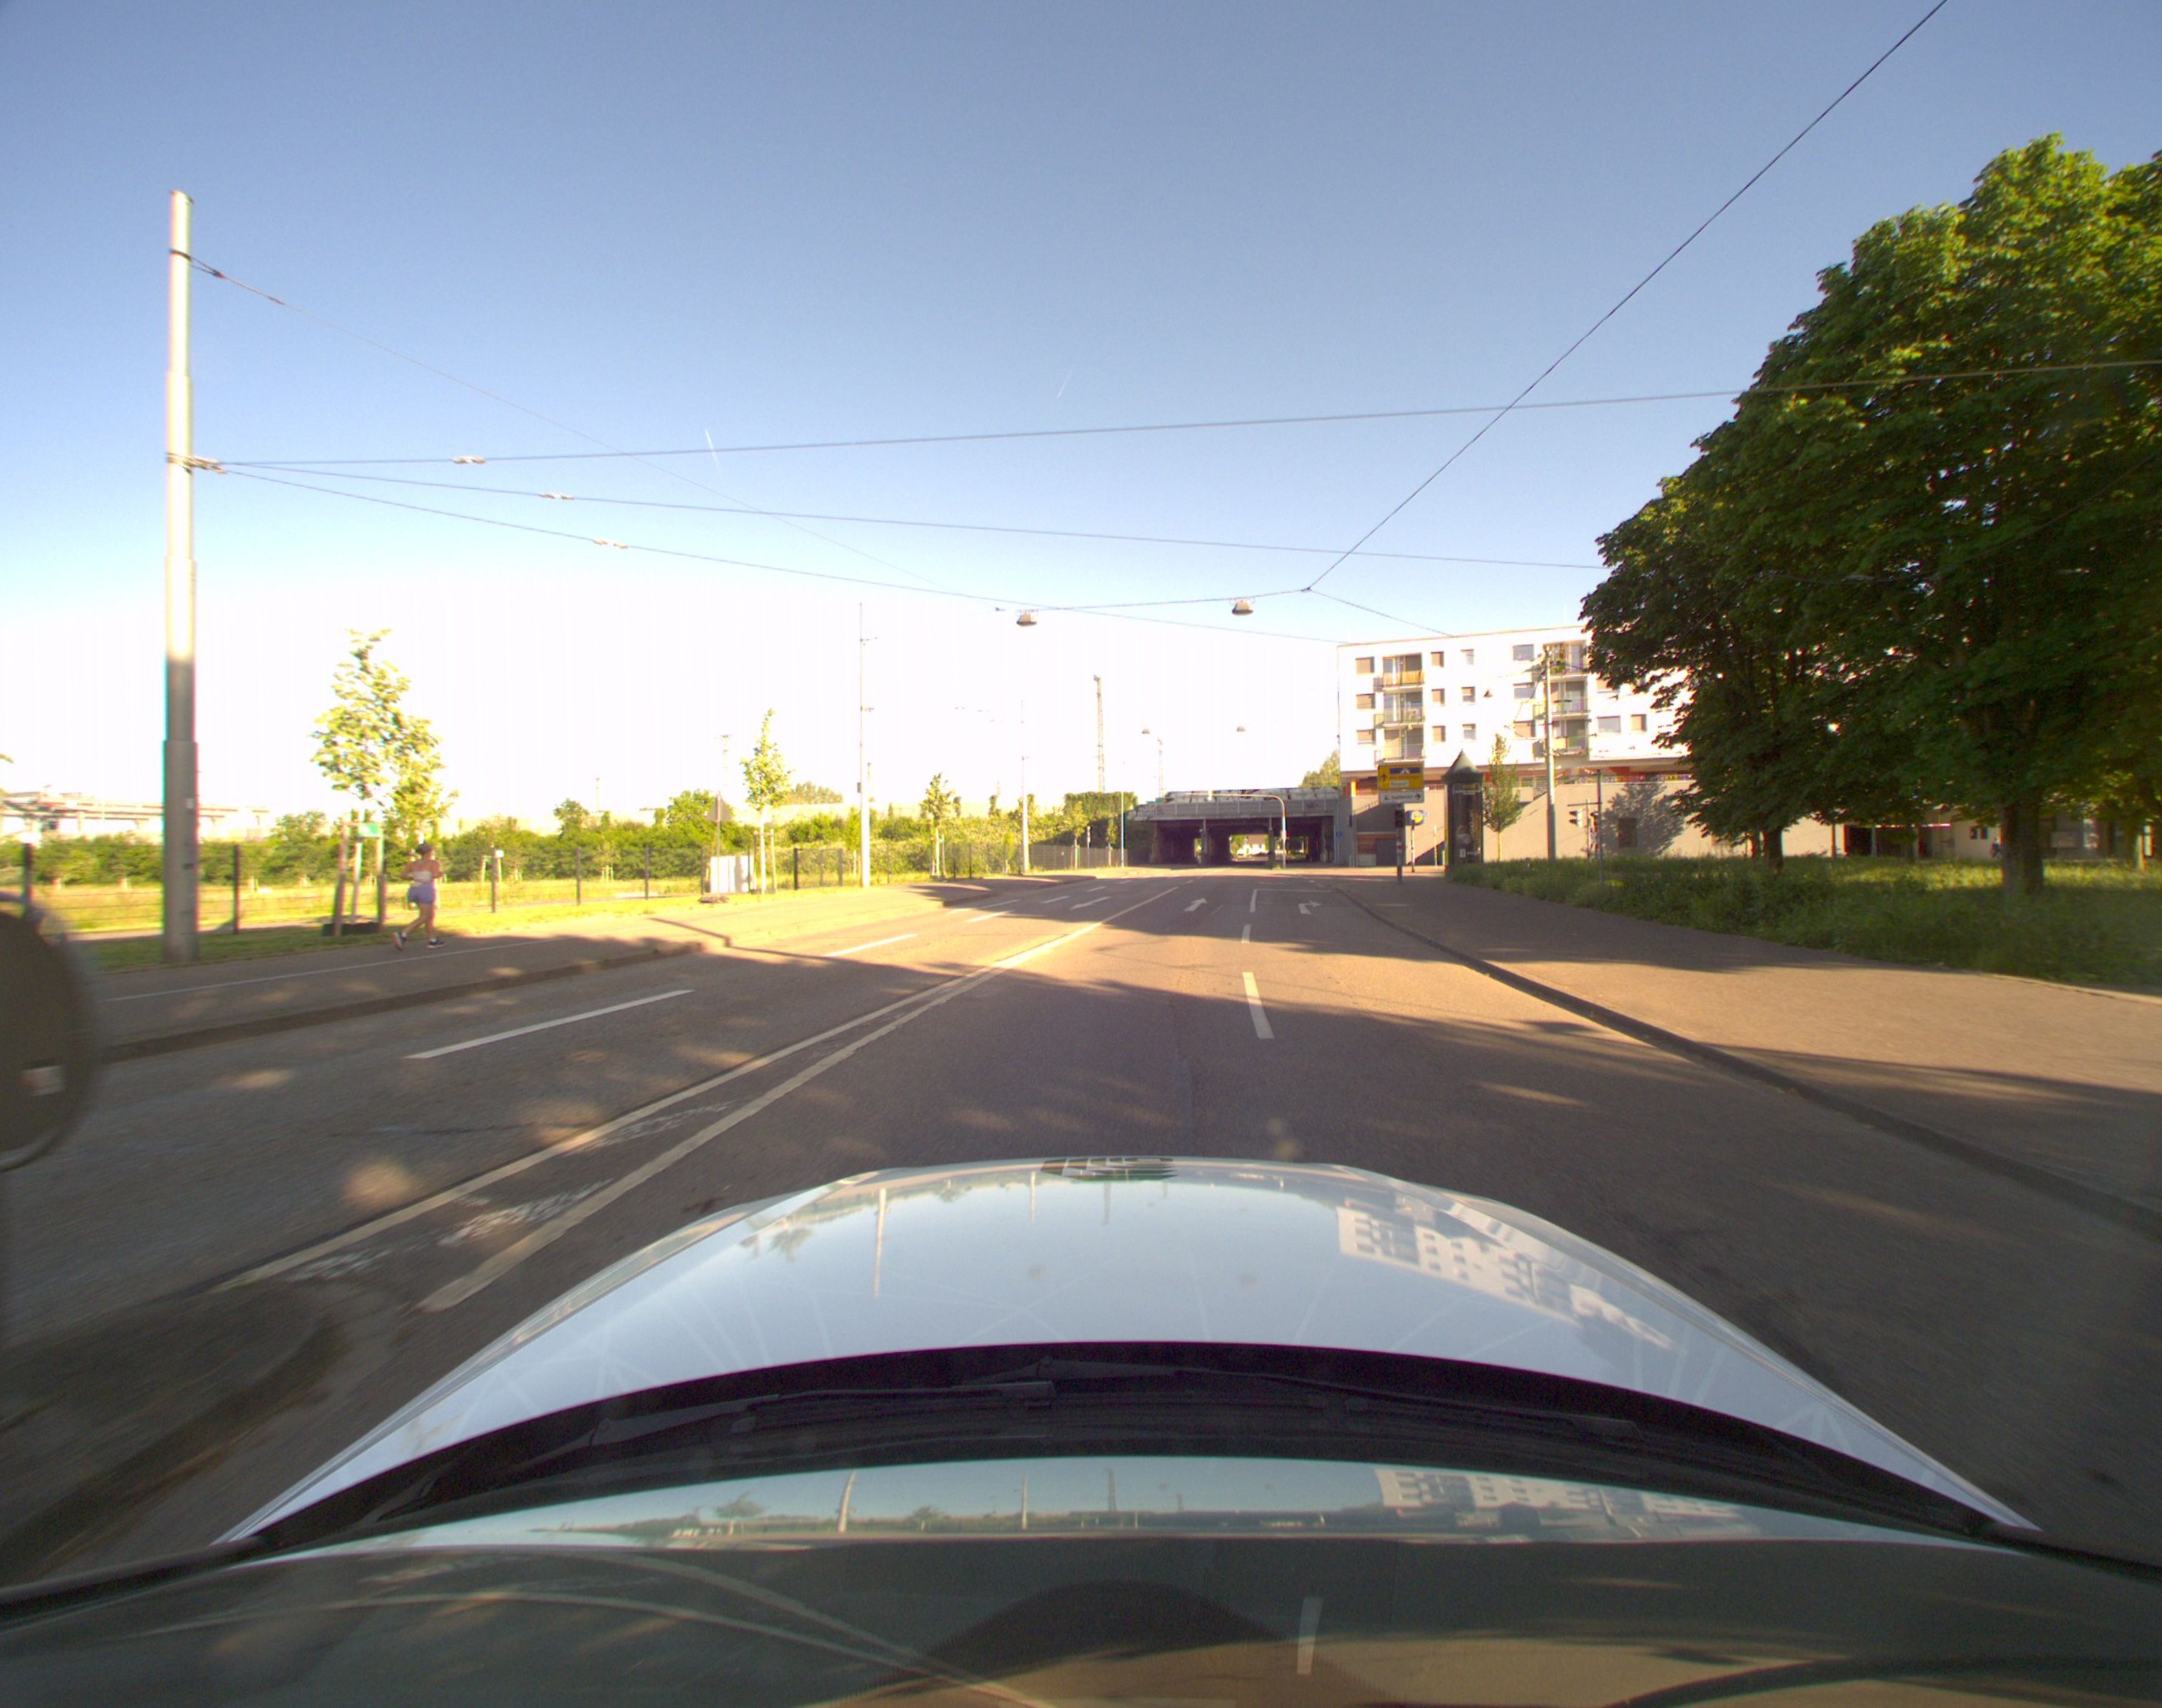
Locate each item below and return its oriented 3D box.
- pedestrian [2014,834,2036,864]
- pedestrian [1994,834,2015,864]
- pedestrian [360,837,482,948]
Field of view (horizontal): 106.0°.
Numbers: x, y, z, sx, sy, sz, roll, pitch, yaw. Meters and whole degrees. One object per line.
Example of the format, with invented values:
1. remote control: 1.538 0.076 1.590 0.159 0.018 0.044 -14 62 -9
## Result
1. pedestrian: 54.557 -0.284 47.050 0.654 1.702 0.604 0 -3 30
2. pedestrian: 53.790 -0.292 47.440 0.654 1.702 0.604 0 -3 30
3. pedestrian: -10.237 0.565 12.675 0.826 1.629 1.186 1 1 16
